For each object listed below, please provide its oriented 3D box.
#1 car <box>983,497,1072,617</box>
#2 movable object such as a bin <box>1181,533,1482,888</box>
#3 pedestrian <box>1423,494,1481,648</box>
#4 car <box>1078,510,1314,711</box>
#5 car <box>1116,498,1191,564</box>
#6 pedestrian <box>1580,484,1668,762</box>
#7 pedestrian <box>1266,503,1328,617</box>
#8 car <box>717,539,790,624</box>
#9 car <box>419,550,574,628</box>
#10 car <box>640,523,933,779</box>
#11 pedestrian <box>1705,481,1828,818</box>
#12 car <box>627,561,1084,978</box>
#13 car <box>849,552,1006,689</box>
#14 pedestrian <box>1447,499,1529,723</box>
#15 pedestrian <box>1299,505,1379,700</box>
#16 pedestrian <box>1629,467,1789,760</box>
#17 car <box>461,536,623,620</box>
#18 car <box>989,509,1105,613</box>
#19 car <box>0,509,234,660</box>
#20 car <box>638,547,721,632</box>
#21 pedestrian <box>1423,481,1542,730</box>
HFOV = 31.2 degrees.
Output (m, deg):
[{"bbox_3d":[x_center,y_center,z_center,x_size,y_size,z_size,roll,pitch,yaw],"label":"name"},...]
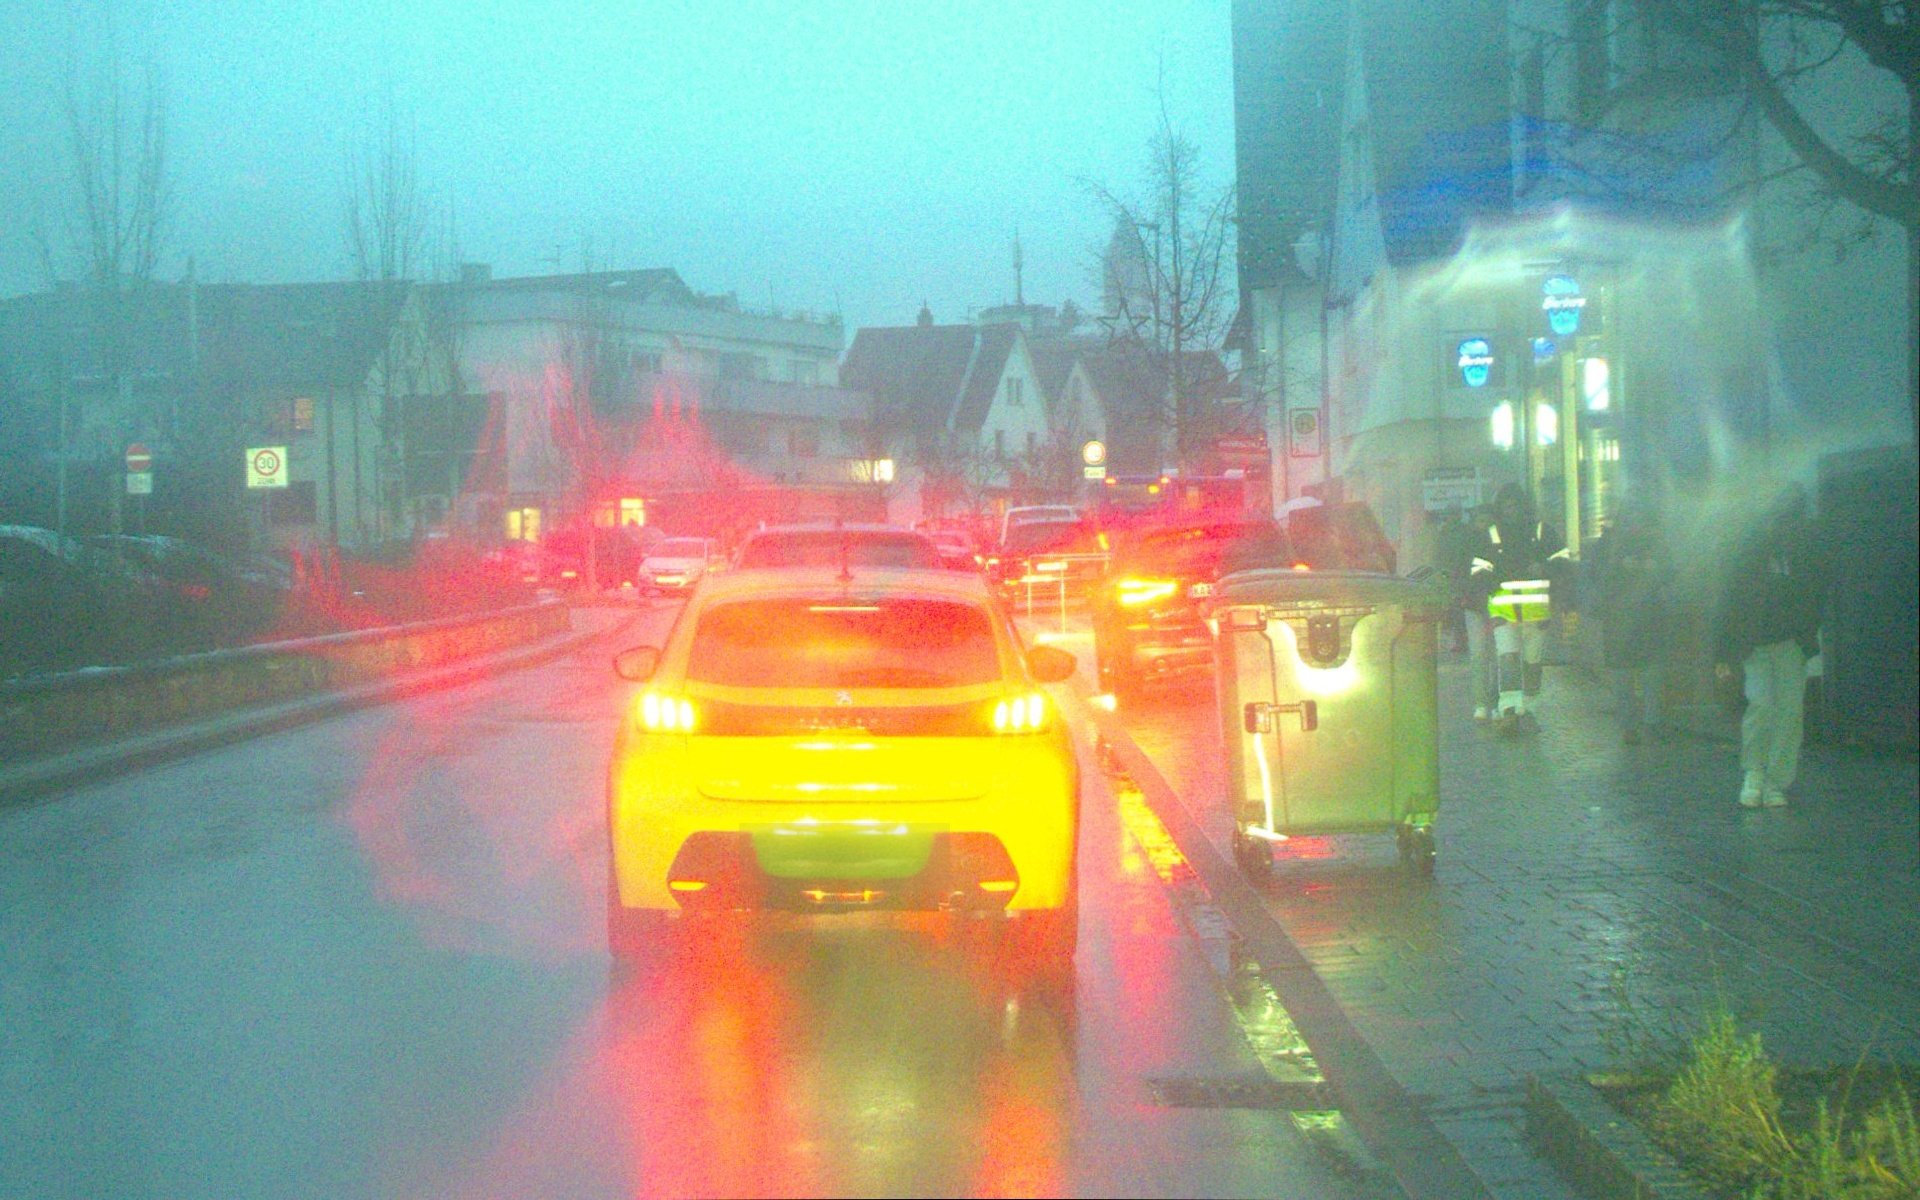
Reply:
[{"bbox_3d":[1.463,-0.914,75.922,1.870,2.461,4.443,1,-1,1],"label":"car"},{"bbox_3d":[1.618,0.457,15.261,1.129,1.415,1.417,-4,2,2],"label":"movable object such as a bin"},{"bbox_3d":[5.550,-0.327,38.772,0.618,1.721,0.501,0,-2,11],"label":"pedestrian"},{"bbox_3d":[2.096,0.064,31.620,1.735,1.686,4.386,-1,1,-1],"label":"car"},{"bbox_3d":[6.009,-2.117,106.202,1.871,1.828,4.442,0,-1,9],"label":"car"},{"bbox_3d":[4.368,0.137,22.637,0.529,1.794,0.864,0,1,9],"label":"pedestrian"},{"bbox_3d":[4.537,-0.544,46.338,0.618,1.510,0.734,-1,2,-14],"label":"pedestrian"},{"bbox_3d":[-5.636,-0.488,94.271,1.919,2.208,3.975,1,-1,-3],"label":"car"},{"bbox_3d":[-12.208,-0.275,90.433,4.166,1.969,1.818,-1,-2,43],"label":"car"},{"bbox_3d":[-1.129,0.295,23.872,1.766,1.623,3.586,1,1,1],"label":"car"},{"bbox_3d":[4.062,0.252,17.351,0.529,1.647,0.953,0,-1,9],"label":"pedestrian"},{"bbox_3d":[-0.381,0.568,13.389,1.563,1.408,3.018,1,1,-1],"label":"car"},{"bbox_3d":[-0.344,0.183,35.705,1.541,1.327,3.311,1,1,-1],"label":"car"},{"bbox_3d":[3.943,0.068,25.639,0.480,1.625,1.018,-2,1,13],"label":"pedestrian"},{"bbox_3d":[3.366,0.020,30.552,0.573,1.694,0.653,-3,0,1],"label":"pedestrian"},{"bbox_3d":[4.441,0.079,20.450,0.747,1.673,1.052,-2,0,6],"label":"pedestrian"},{"bbox_3d":[-11.356,-0.566,93.308,4.383,2.159,1.995,-1,-2,43],"label":"car"},{"bbox_3d":[1.572,-0.712,63.375,1.997,1.858,4.083,0,0,0],"label":"car"},{"bbox_3d":[-10.747,-0.177,39.069,4.625,1.662,2.000,0,0,-3],"label":"car"},{"bbox_3d":[-7.018,-0.233,86.318,1.919,2.021,3.975,1,-1,-3],"label":"car"},{"bbox_3d":[3.713,0.026,24.390,0.712,1.709,1.034,-2,1,13],"label":"pedestrian"}]
